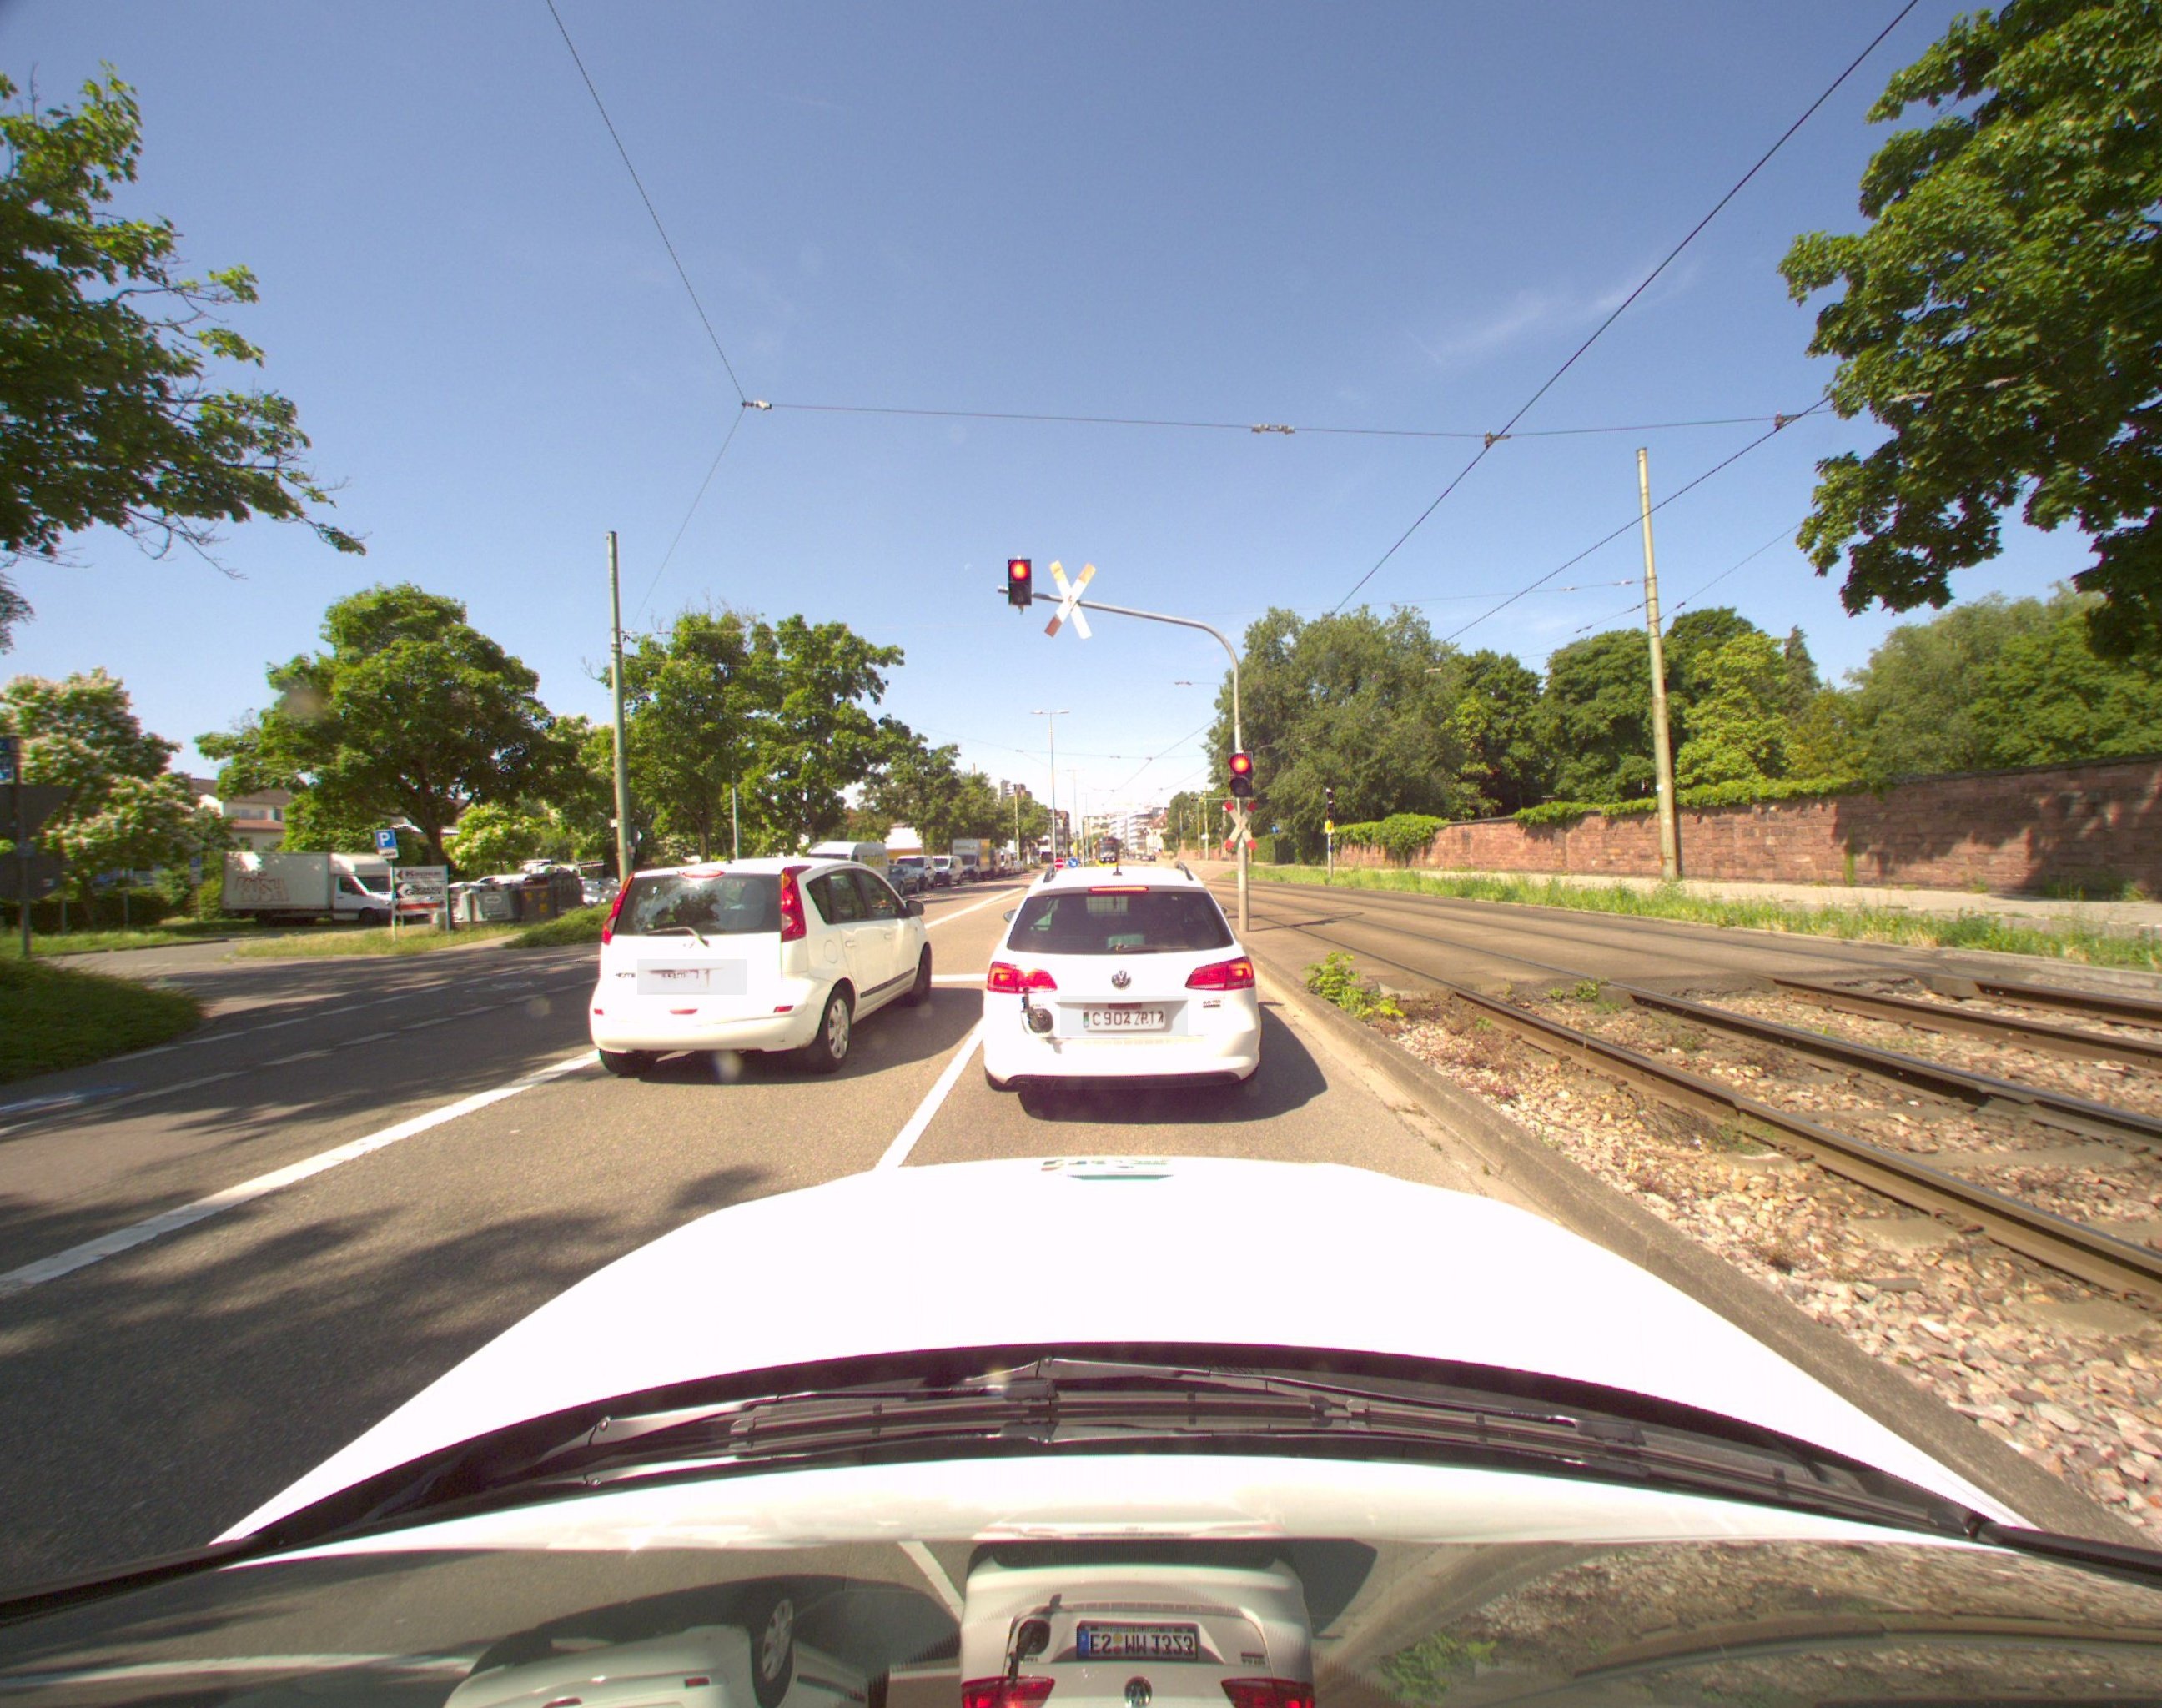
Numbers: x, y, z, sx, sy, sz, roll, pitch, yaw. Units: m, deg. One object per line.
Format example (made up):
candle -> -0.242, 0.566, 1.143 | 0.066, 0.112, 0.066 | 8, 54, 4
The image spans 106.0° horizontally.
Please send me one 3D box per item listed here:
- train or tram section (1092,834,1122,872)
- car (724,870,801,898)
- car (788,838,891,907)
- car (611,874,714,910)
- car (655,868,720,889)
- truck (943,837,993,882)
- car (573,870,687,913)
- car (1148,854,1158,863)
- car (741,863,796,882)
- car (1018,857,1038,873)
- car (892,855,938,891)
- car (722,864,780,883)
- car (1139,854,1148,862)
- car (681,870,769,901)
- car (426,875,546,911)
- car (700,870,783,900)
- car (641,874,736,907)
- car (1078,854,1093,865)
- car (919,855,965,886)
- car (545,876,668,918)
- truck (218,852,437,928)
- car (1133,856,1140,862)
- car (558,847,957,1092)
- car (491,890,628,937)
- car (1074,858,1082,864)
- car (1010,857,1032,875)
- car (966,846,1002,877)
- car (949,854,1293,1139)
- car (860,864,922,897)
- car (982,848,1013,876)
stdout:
train or tram section -> 2.863, -0.116, 89.704 | 2.860, 3.855, 12.396 | -3, 0, 2
car -> -19.452, 1.825, 49.886 | 3.977, 1.415, 1.729 | -4, -1, -3
car -> -9.560, 0.688, 32.859 | 2.114, 2.516, 5.822 | 0, 0, 3
car -> -20.284, 1.807, 39.564 | 3.977, 1.415, 1.729 | -4, -1, -3
car -> -35.188, 2.201, 72.979 | 4.780, 1.787, 2.062 | 0, -1, -3
truck -> -8.298, 0.417, 60.693 | 2.411, 3.150, 7.001 | 0, 0, 2
car -> -19.907, 1.631, 36.073 | 3.977, 1.610, 1.729 | -4, -1, -3
car -> 15.612, 0.953, 176.674 | 1.857, 1.868, 5.063 | 0, 0, 1
car -> -31.764, 1.867, 82.784 | 4.780, 1.787, 2.062 | 0, -1, -3
car -> -6.381, 1.363, 98.944 | 1.856, 1.868, 5.415 | 0, 0, 1
car -> -9.244, 0.995, 45.688 | 1.859, 1.868, 5.068 | 0, 0, -3
car -> -31.536, 1.825, 77.928 | 4.780, 1.787, 2.062 | 0, -1, -3
car -> 14.672, 0.953, 192.504 | 1.857, 1.868, 5.063 | 0, 0, 1
car -> -19.529, 1.725, 44.736 | 3.977, 1.415, 1.729 | -4, -1, -3
car -> -31.760, 2.051, 43.574 | 4.780, 1.787, 2.062 | 0, -1, -3
car -> -19.599, 1.771, 47.070 | 3.977, 1.415, 1.729 | -4, -1, -3
car -> -20.278, 1.872, 42.219 | 3.977, 1.415, 1.729 | -4, -1, -3
car -> 0.629, 0.772, 112.934 | 1.698, 1.473, 4.593 | -3, 0, 3
car -> -8.860, 1.016, 52.274 | 1.856, 1.868, 5.415 | 0, 0, 1
car -> -19.658, 1.771, 33.855 | 3.977, 1.415, 1.729 | -4, -1, -3
truck -> -32.415, 1.495, 35.229 | 6.978, 3.110, 2.677 | 0, 0, 0
car -> 16.837, 1.444, 247.345 | 1.857, 1.868, 5.063 | 0, 0, 1
car -> -2.440, 0.747, 7.533 | 1.655, 1.547, 4.550 | -1, 0, 3
car -> -19.890, 2.236, 31.172 | 3.977, 1.415, 1.729 | -4, -1, -3
car -> -0.673, 1.650, 193.624 | 1.700, 1.473, 4.588 | -3, 0, 0
car -> -6.763, 1.318, 92.032 | 1.856, 1.868, 5.415 | 0, 0, 1
car -> -8.137, 0.622, 68.693 | 2.114, 2.516, 5.737 | 0, 0, 2
car -> 0.273, 0.756, 6.315 | 1.756, 1.430, 4.002 | -3, 0, 2
car -> -9.060, 1.225, 39.109 | 1.856, 1.415, 4.281 | 0, 0, 1
car -> -7.761, 0.683, 76.126 | 2.114, 2.516, 5.737 | 0, 0, 2
